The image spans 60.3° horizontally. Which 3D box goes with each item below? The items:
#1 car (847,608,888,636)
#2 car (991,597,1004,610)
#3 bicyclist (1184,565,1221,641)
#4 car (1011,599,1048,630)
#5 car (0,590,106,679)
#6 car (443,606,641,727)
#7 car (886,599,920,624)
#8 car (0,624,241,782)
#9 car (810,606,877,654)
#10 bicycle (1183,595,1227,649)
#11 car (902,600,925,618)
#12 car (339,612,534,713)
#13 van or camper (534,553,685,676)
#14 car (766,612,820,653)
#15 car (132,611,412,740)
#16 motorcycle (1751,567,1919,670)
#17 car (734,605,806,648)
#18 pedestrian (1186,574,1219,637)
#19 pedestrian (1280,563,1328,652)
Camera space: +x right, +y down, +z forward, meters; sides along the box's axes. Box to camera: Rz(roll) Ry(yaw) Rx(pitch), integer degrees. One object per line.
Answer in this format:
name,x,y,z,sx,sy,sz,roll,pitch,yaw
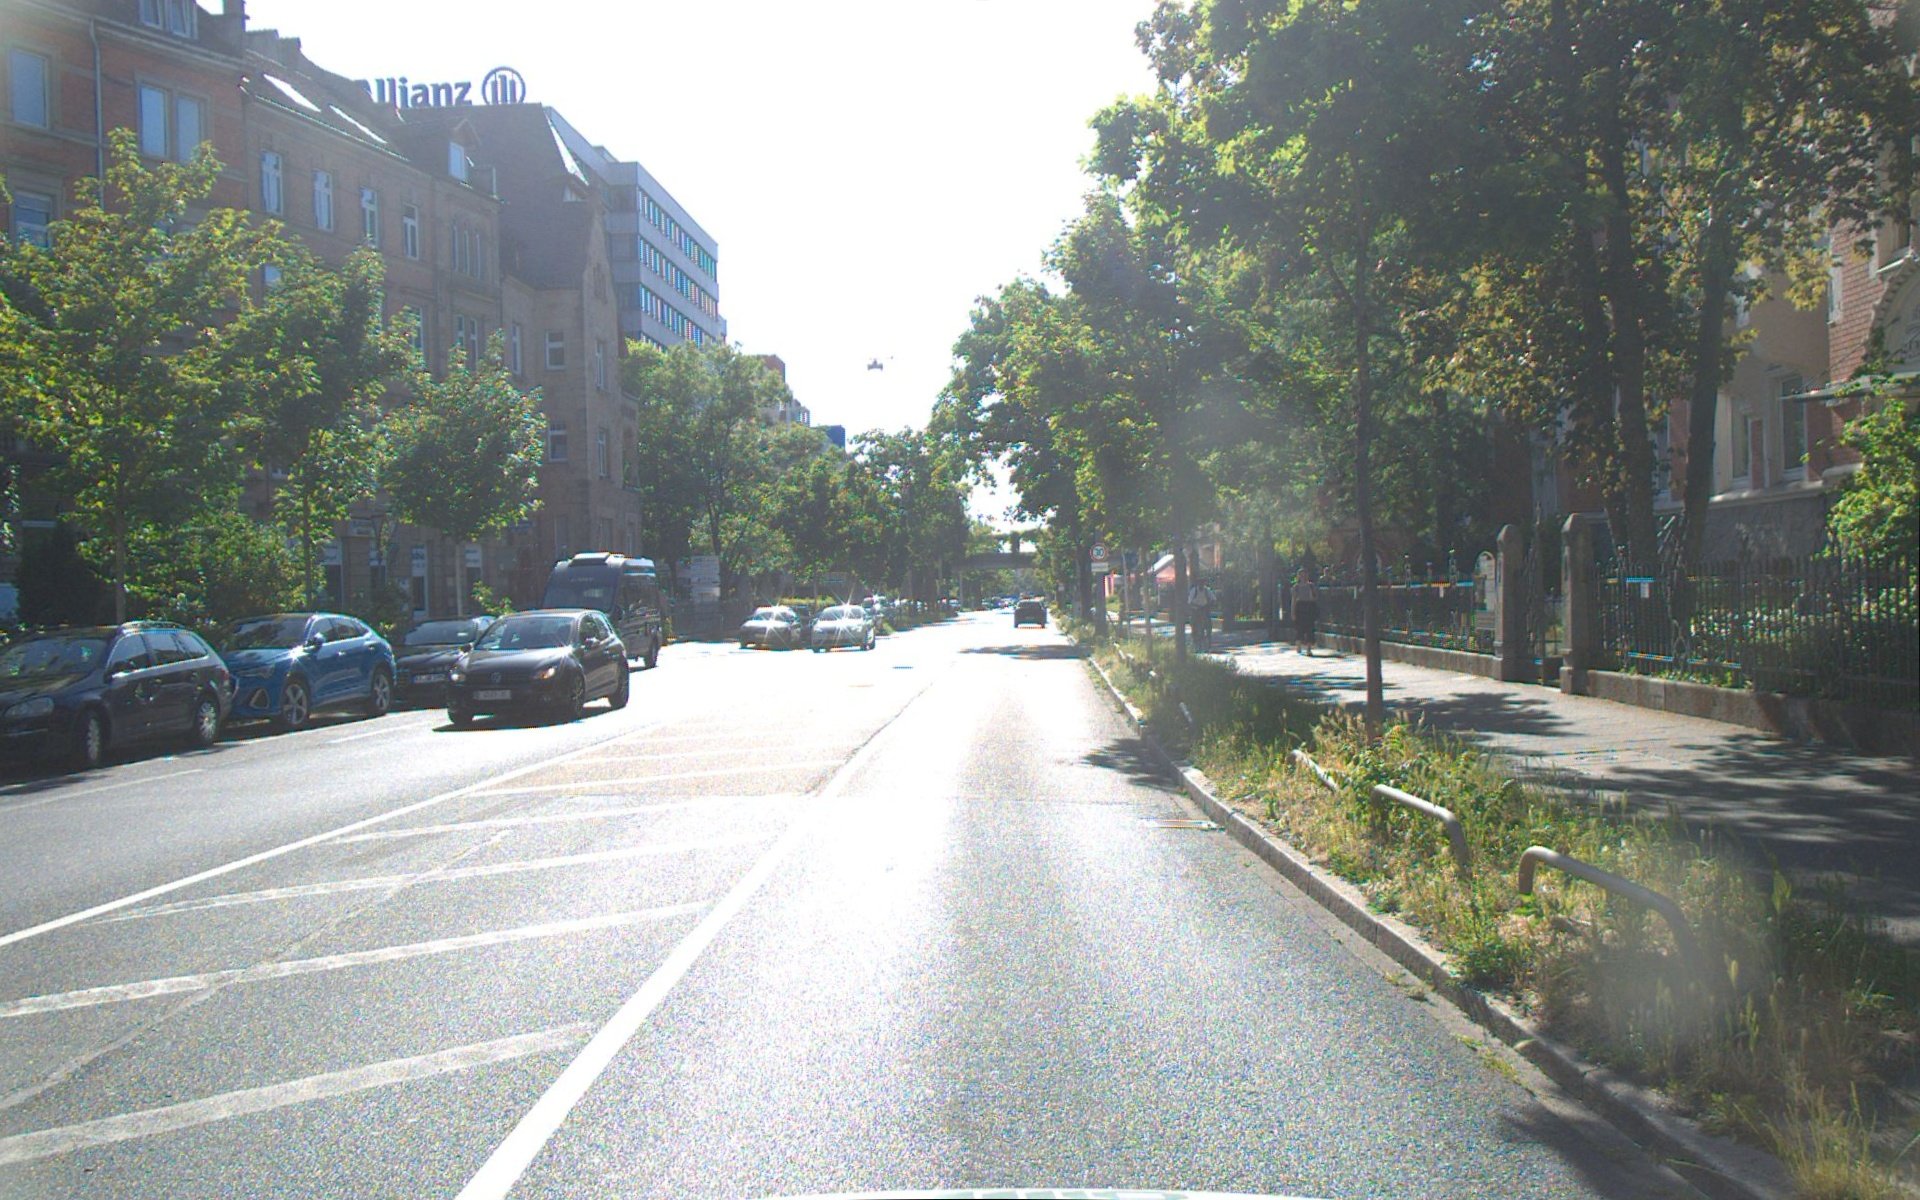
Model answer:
car,-5.040,1.174,90.556,1.652,1.407,4.194,-1,0,5
car,5.511,0.485,241.552,1.818,1.856,4.611,-4,0,1
bicyclist,5.707,0.071,38.943,0.608,1.719,0.820,-5,0,-1
car,3.904,0.788,93.401,1.944,1.628,4.141,-2,0,1
car,-21.800,0.807,37.101,1.823,1.947,4.447,-4,-2,27
car,-5.831,0.868,23.565,1.559,1.475,4.135,-2,0,3
car,-3.509,0.700,102.115,1.676,1.484,4.074,-1,0,4
car,-9.726,1.072,18.386,1.558,1.508,4.271,-3,-1,-1
car,-3.747,0.937,53.722,1.879,1.444,4.224,-1,0,-1
bicycle,5.747,0.503,38.930,0.603,1.196,1.919,-5,0,-1
car,-4.444,0.854,158.185,1.817,1.595,3.873,-1,0,3
car,-8.976,1.024,28.763,1.743,1.438,4.407,-4,0,2
van or camper,-8.647,0.321,41.450,2.170,2.787,6.090,-2,0,2
car,-6.661,1.260,66.378,1.818,1.520,4.704,1,0,-2
car,-9.611,0.992,23.542,1.743,1.565,4.561,-1,0,5
motorcycle,10.162,0.206,18.879,1.835,1.049,0.782,-4,-2,11
car,-7.002,0.967,61.346,1.817,1.452,4.722,2,0,3
pedestrian,7.283,0.150,49.710,0.732,1.818,0.811,-5,0,16
pedestrian,6.853,0.156,32.980,0.680,1.687,0.820,-5,-1,2
